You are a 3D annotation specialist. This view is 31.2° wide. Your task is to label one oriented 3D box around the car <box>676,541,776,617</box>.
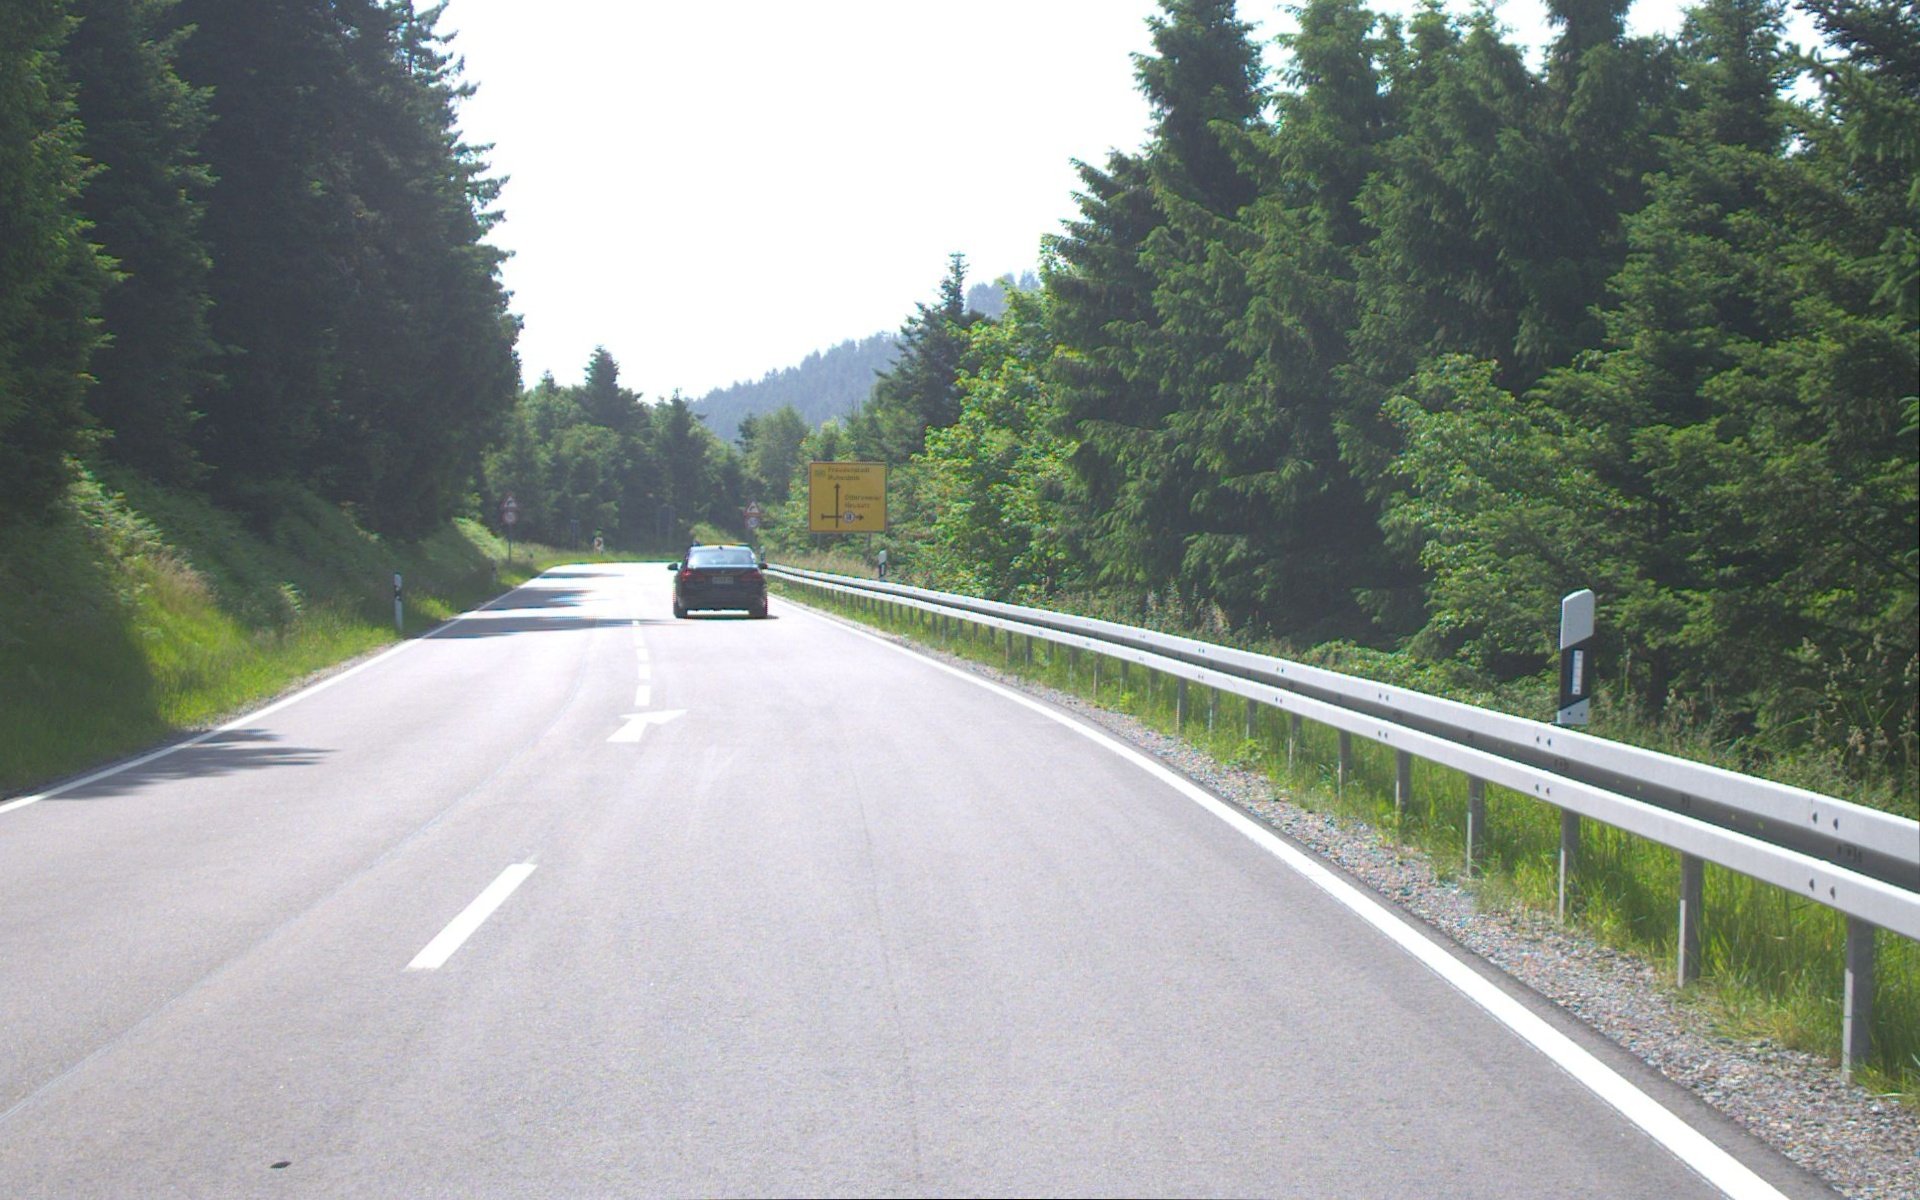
[{"bbox_3d":[-4.660,-0.421,68.142,1.775,1.437,3.710,1,1,-7],"label":"car"}]
